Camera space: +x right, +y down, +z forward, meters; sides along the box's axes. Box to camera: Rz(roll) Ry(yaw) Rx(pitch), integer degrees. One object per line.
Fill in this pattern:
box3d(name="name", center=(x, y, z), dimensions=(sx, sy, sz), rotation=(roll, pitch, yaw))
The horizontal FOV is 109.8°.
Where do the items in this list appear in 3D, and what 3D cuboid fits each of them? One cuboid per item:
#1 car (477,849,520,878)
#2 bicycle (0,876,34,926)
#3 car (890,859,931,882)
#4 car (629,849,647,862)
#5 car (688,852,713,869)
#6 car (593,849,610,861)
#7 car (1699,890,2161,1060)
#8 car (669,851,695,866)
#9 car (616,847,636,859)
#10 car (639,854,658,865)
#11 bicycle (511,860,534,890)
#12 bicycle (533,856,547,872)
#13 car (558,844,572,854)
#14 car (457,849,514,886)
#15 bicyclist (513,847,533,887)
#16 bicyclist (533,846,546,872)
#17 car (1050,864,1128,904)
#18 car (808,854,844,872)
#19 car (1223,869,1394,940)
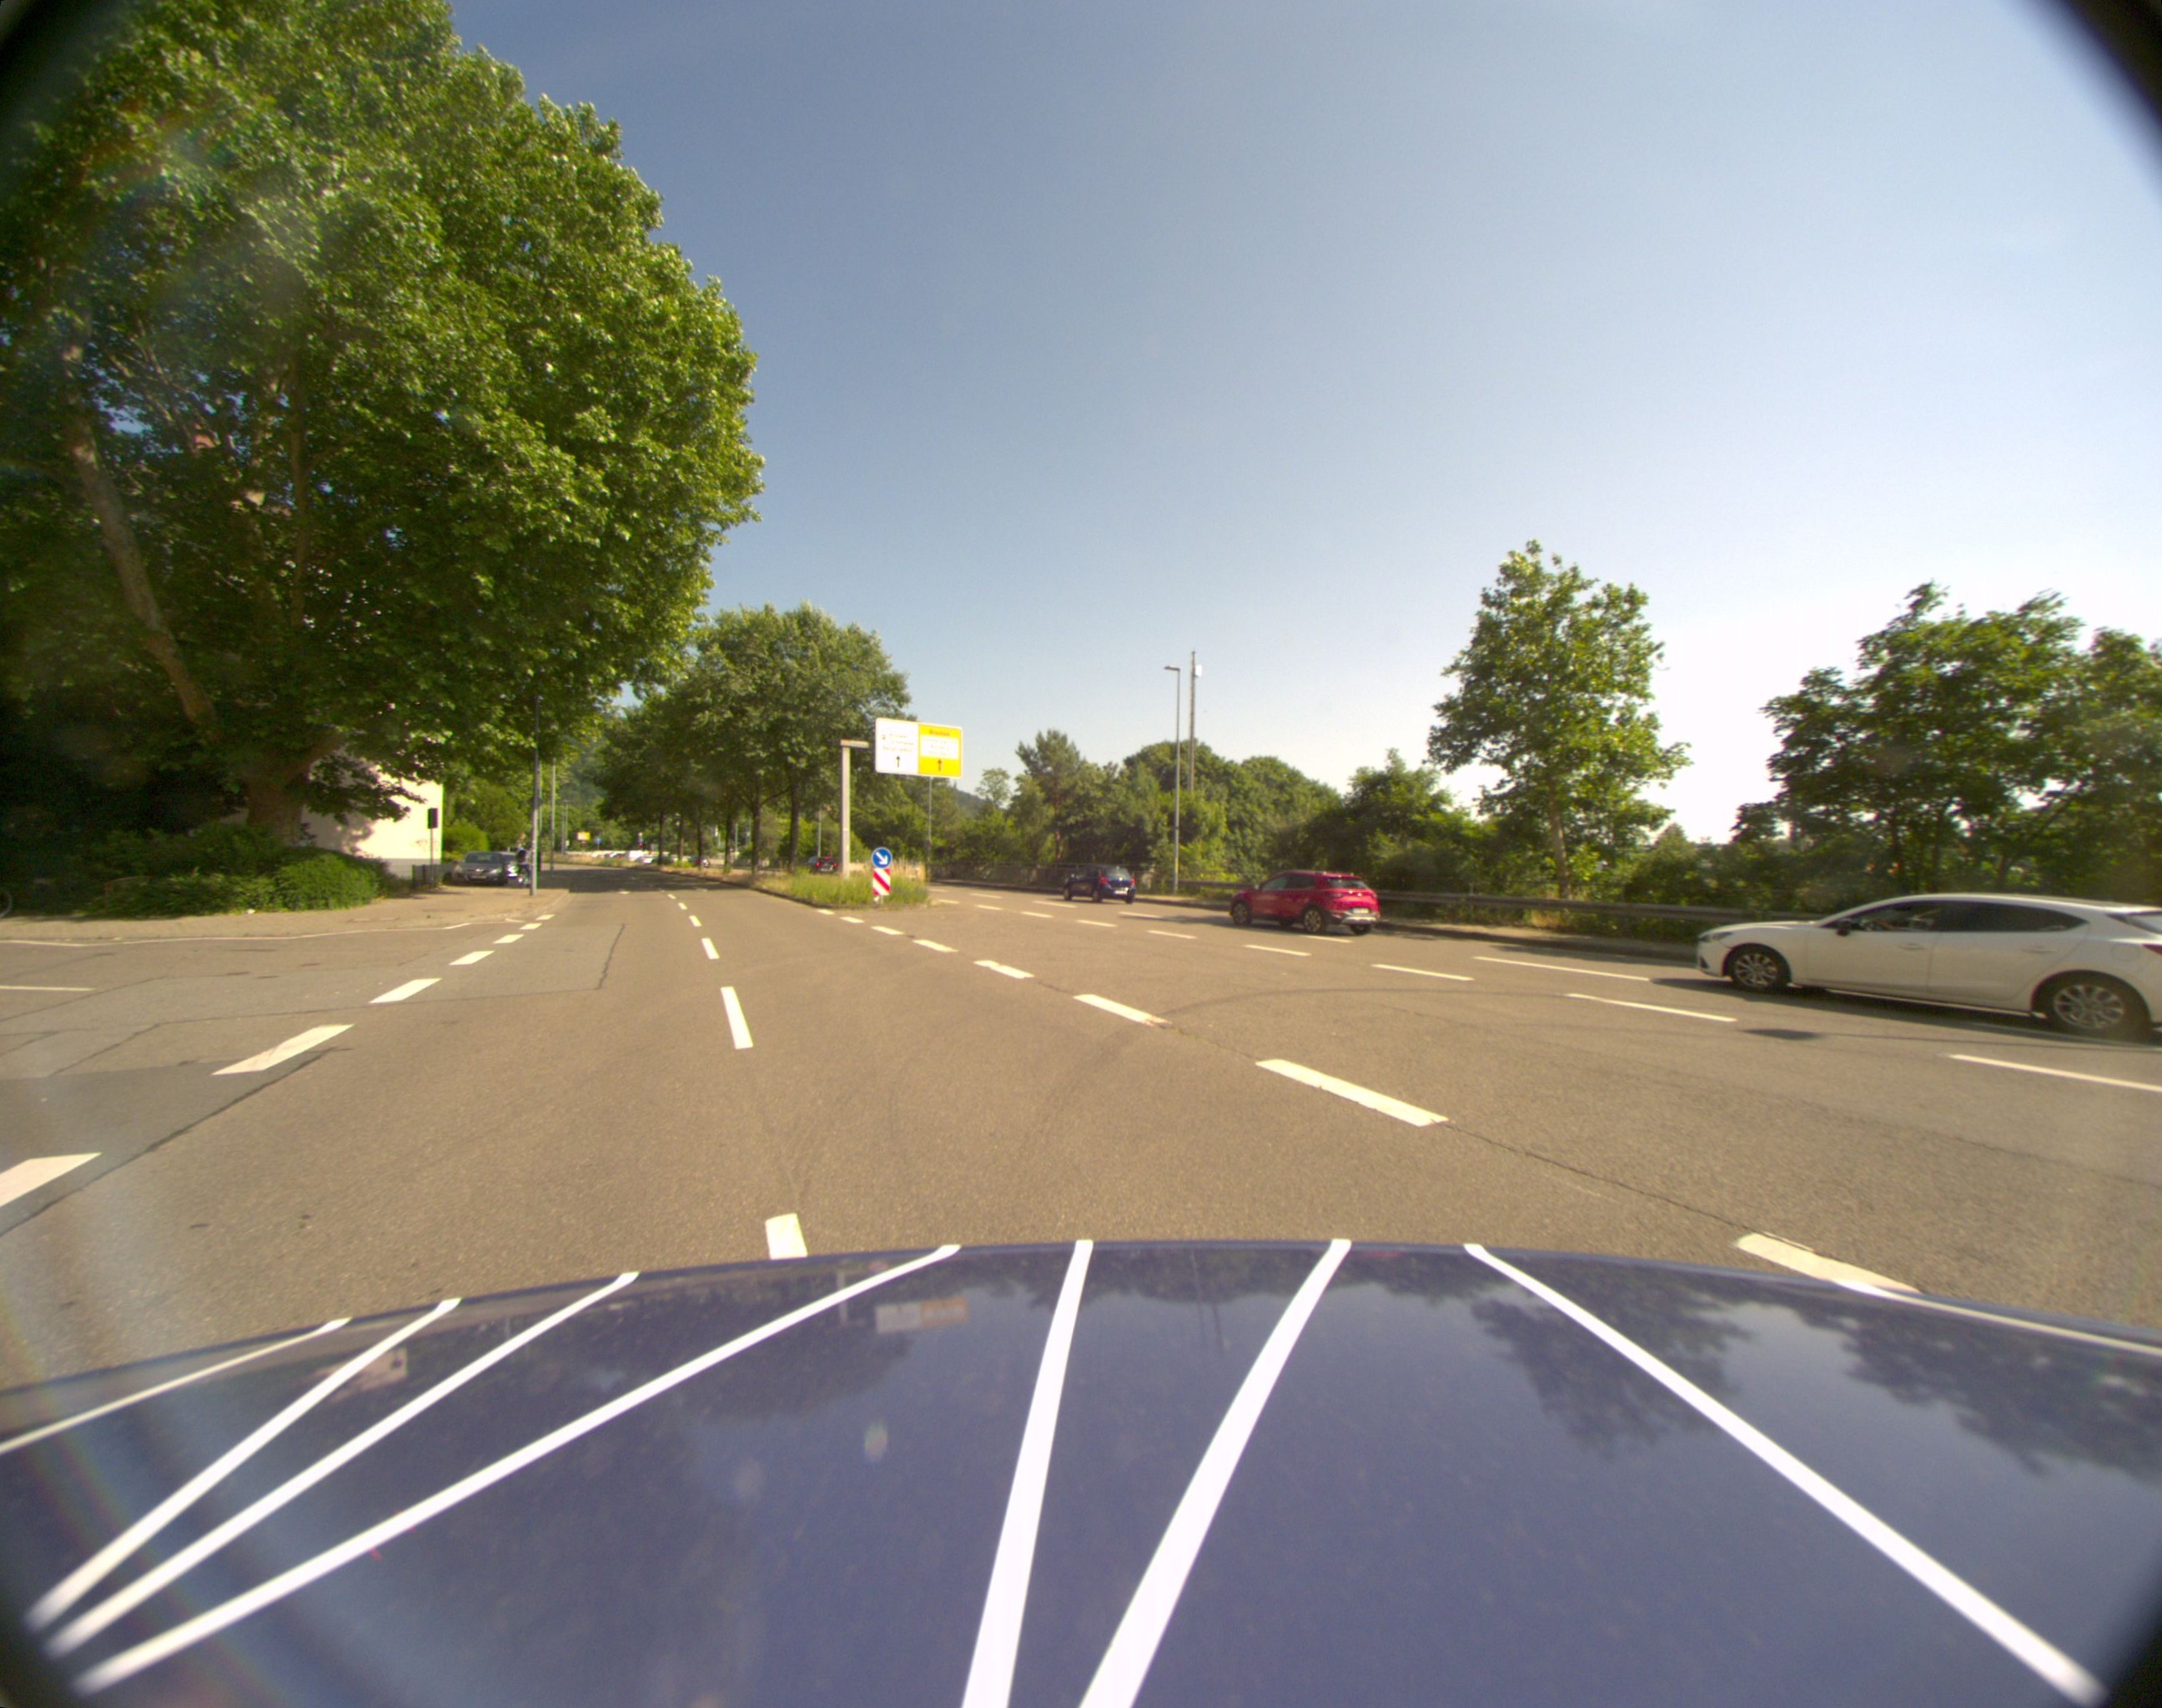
box3d(name="car", center=(-32.852, 0.518, 42.814), dimensions=(1.650, 1.564, 3.988), rotation=(1, 0, -41))
box3d(name="bicycle", center=(-22.054, 0.935, 14.690), dimensions=(0.971, 0.978, 1.901), rotation=(1, 0, 14))
box3d(name="car", center=(-11.477, 1.091, 51.016), dimensions=(1.684, 1.460, 3.568), rotation=(1, 0, -29))
box3d(name="car", center=(-64.473, 0.200, 110.579), dimensions=(1.638, 1.903, 3.670), rotation=(1, 0, -40))
box3d(name="car", center=(-44.282, 0.728, 88.376), dimensions=(2.004, 1.880, 3.989), rotation=(1, 0, -37))
box3d(name="car", center=(-72.883, 0.134, 115.568), dimensions=(1.638, 1.801, 3.581), rotation=(1, 0, -41))
box3d(name="car", center=(10.440, 1.275, 9.172), dimensions=(1.873, 1.444, 4.195), rotation=(2, -1, -25))
box3d(name="car", center=(-49.873, 0.579, 95.004), dimensions=(2.004, 1.880, 3.988), rotation=(1, 0, -40))
box3d(name="car", center=(-75.311, -0.153, 125.678), dimensions=(2.005, 1.856, 3.988), rotation=(3, -2, -42))
box3d(name="car", center=(-59.835, 0.772, 105.007), dimensions=(1.638, 1.486, 3.670), rotation=(1, 0, -40))
box3d(name="bicycle", center=(-22.730, 0.840, 30.935), dimensions=(0.555, 1.181, 1.283), rotation=(1, 0, -26))
box3d(name="bicycle", center=(-39.500, 0.734, 55.468), dimensions=(0.663, 1.116, 1.797), rotation=(1, 0, -42))
box3d(name="car", center=(-92.004, -0.856, 135.513), dimensions=(1.638, 1.801, 3.582), rotation=(1, 0, -41))
box3d(name="car", center=(-25.993, 0.571, 33.271), dimensions=(1.797, 1.503, 3.883), rotation=(1, 0, -36))
box3d(name="bicyclist", center=(-22.723, 0.527, 30.928), dimensions=(0.542, 1.624, 0.588), rotation=(1, 0, -27))
box3d(name="bicyclist", center=(-39.572, 0.349, 55.526), dimensions=(0.649, 1.883, 0.837), rotation=(1, 0, -43))
box3d(name="car", center=(0.277, 1.245, 31.963), dimensions=(1.649, 1.491, 3.641), rotation=(3, -1, -28))
box3d(name="car", center=(-23.615, 0.826, 70.254), dimensions=(1.927, 1.654, 4.300), rotation=(1, 0, -36))
box3d(name="car", center=(5.600, 1.190, 19.178), dimensions=(1.806, 1.510, 3.955), rotation=(2, -1, -29))
